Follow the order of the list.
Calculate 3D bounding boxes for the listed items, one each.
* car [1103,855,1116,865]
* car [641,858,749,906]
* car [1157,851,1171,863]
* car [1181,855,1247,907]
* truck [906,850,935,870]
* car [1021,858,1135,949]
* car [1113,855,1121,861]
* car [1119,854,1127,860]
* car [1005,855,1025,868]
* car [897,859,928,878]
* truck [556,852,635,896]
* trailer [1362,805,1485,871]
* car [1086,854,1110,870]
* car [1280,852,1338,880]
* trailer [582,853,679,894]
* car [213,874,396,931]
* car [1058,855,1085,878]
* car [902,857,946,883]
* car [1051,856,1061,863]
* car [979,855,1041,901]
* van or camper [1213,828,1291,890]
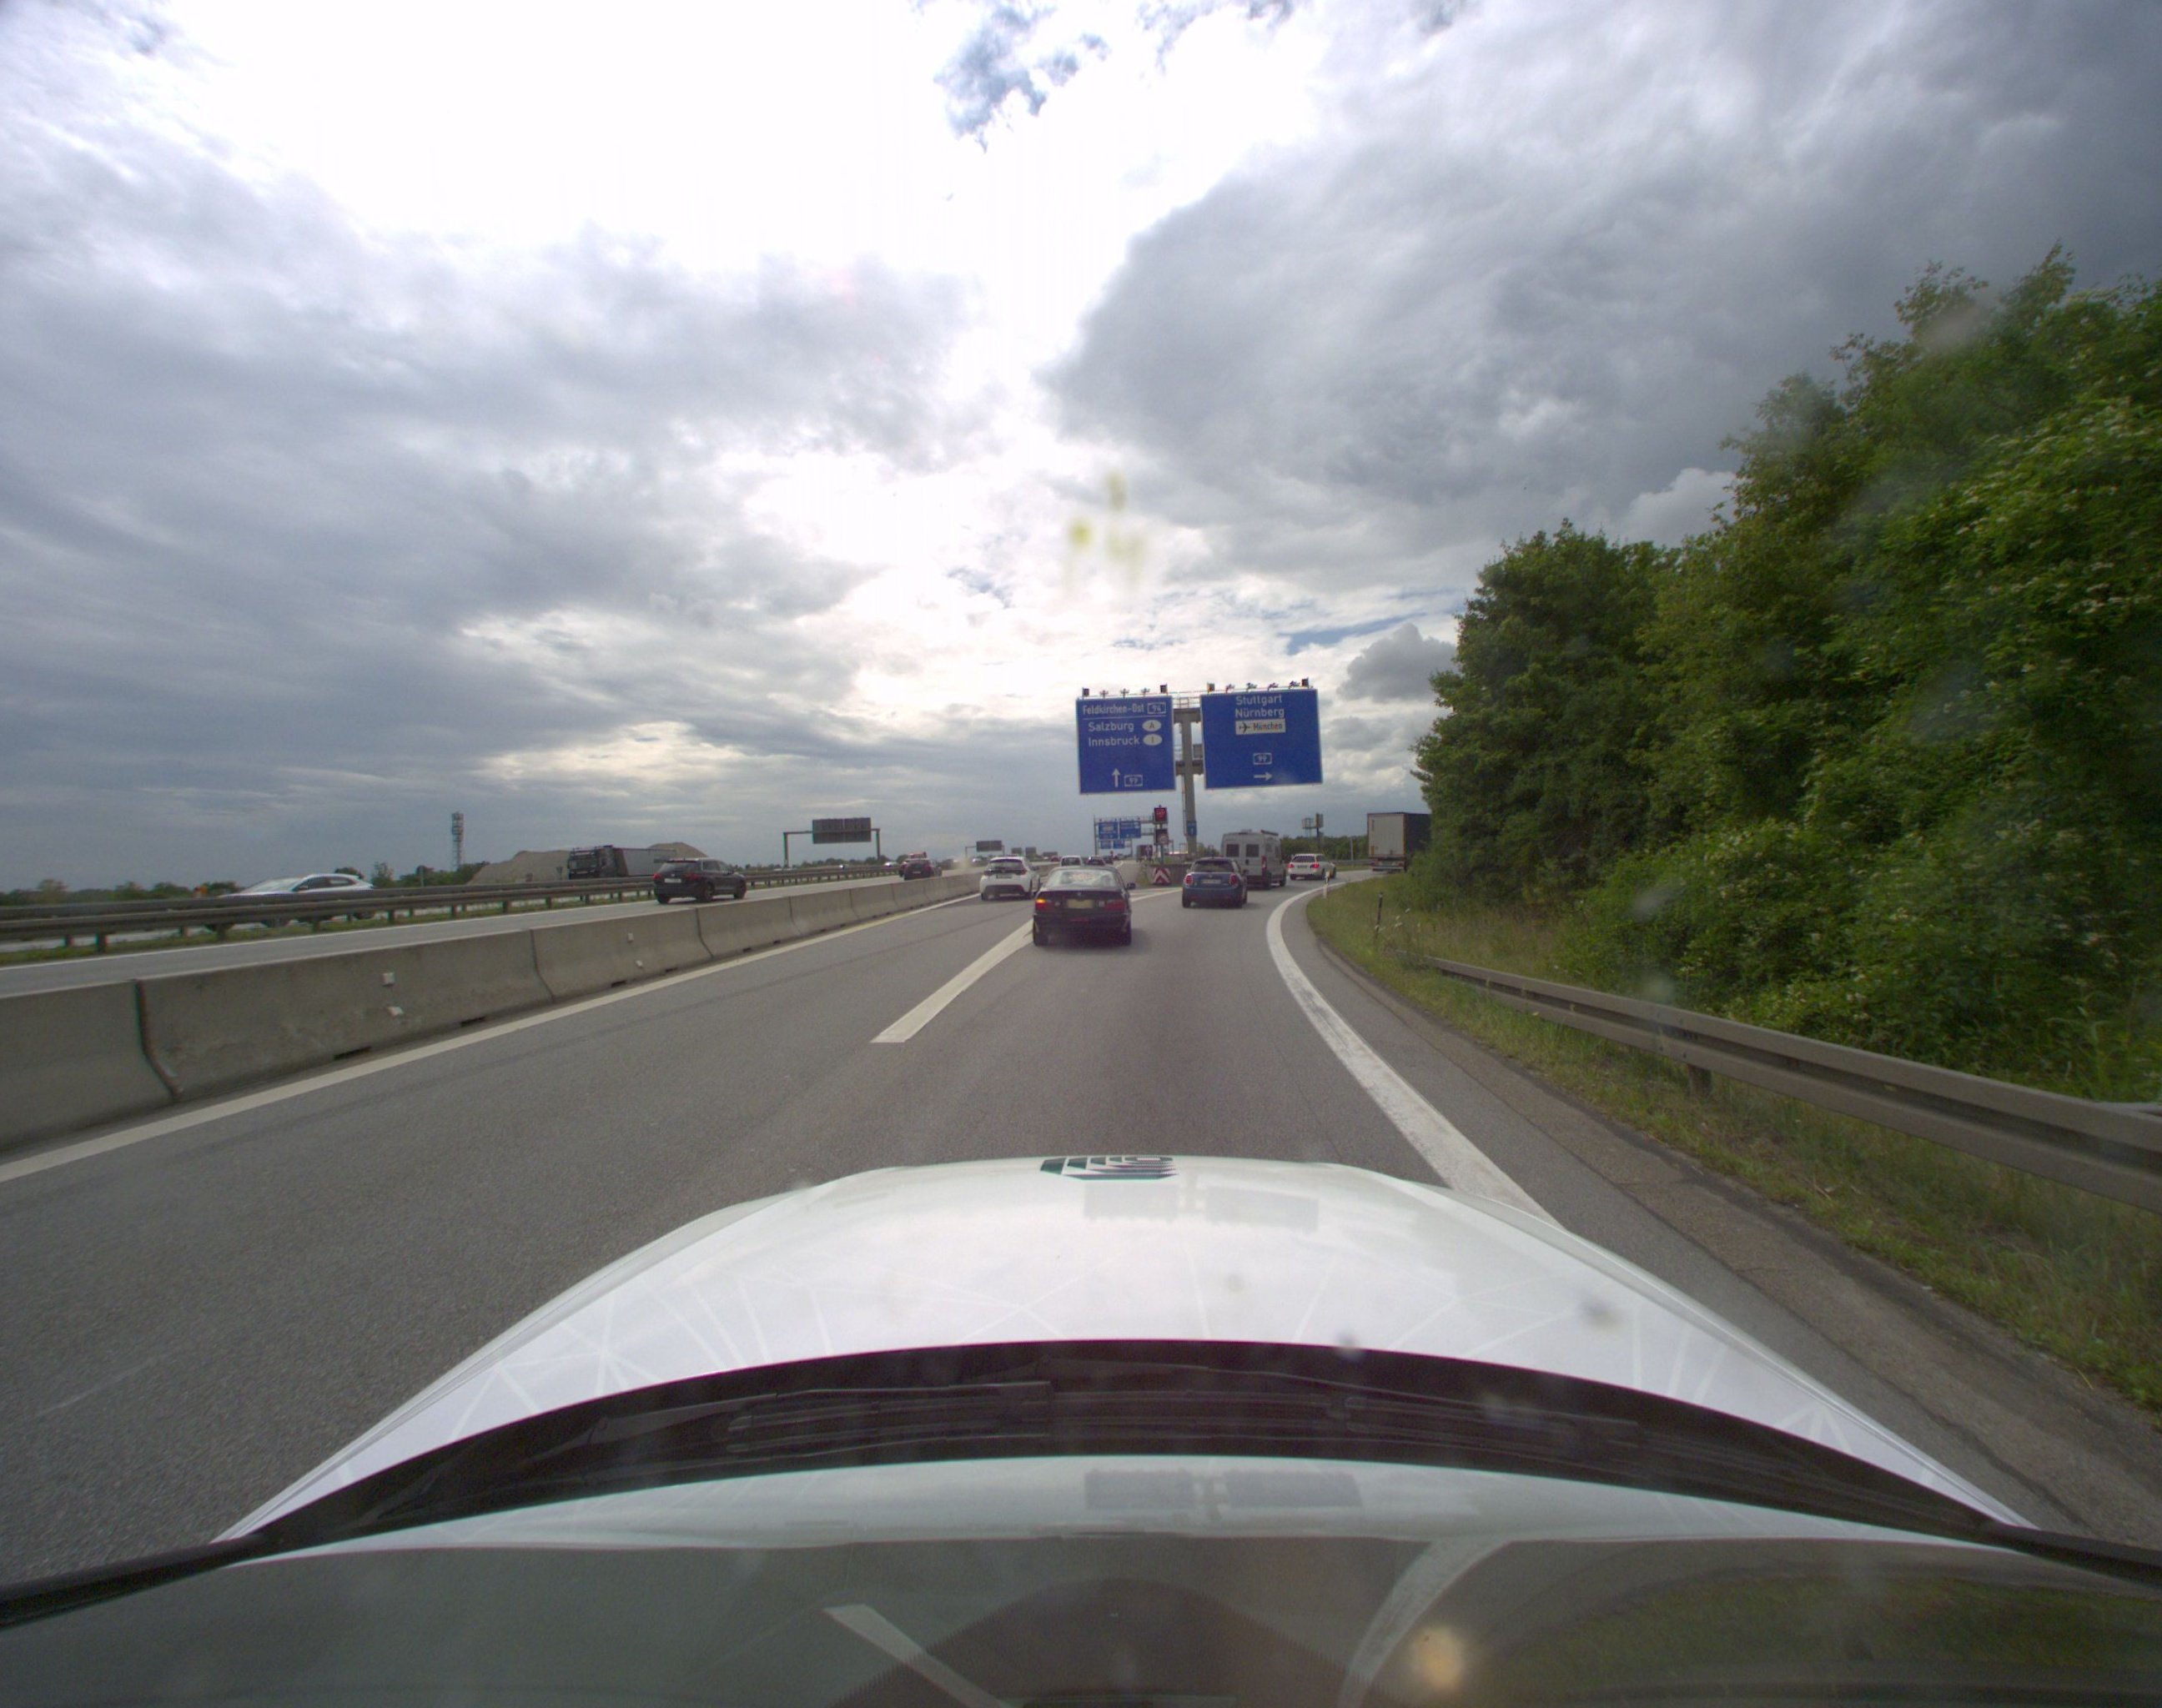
[{"bbox_3d":[4.234,0.850,121.369,1.858,1.424,4.003,-1,0,3],"label":"car"},{"bbox_3d":[-14.316,0.981,30.480,1.894,1.638,4.235,-1,0,2],"label":"car"},{"bbox_3d":[14.194,0.494,139.686,1.986,2.013,4.001,-1,0,1],"label":"car"},{"bbox_3d":[4.077,0.767,24.545,1.717,1.419,3.679,-1,0,13],"label":"car"},{"bbox_3d":[-20.948,0.762,106.547,2.268,2.370,6.202,-1,0,1],"label":"truck"},{"bbox_3d":[0.075,0.804,14.966,1.775,1.378,4.140,-1,0,3],"label":"car"},{"bbox_3d":[8.514,0.868,193.206,1.795,1.424,4.005,-1,0,4],"label":"car"},{"bbox_3d":[11.098,0.813,214.912,1.795,1.424,4.005,-1,0,4],"label":"car"},{"bbox_3d":[-8.443,0.945,104.338,1.985,1.683,4.869,-1,0,3],"label":"car"},{"bbox_3d":[-13.523,1.146,65.491,1.547,1.376,4.002,-1,0,2],"label":"car"},{"bbox_3d":[-39.260,1.564,66.078,3.141,3.330,5.618,-1,0,-2],"label":"truck"},{"bbox_3d":[24.576,-1.086,57.858,13.108,4.193,3.300,-1,0,-45],"label":"trailer"},{"bbox_3d":[1.746,0.762,80.228,1.983,1.468,4.007,-1,0,6],"label":"car"},{"bbox_3d":[13.233,0.661,47.042,2.185,1.501,4.816,-2,0,28],"label":"car"},{"bbox_3d":[-39.407,1.611,71.784,3.189,3.269,9.818,-1,0,-2],"label":"trailer"},{"bbox_3d":[-23.253,1.384,24.617,1.681,1.469,4.004,-1,0,0],"label":"car"},{"bbox_3d":[-0.596,0.837,54.877,1.578,1.484,3.538,-1,0,3],"label":"car"},{"bbox_3d":[-9.654,0.962,50.330,1.767,1.530,4.002,-2,0,2],"label":"car"},{"bbox_3d":[-6.167,1.371,204.079,1.984,1.468,4.005,-1,0,4],"label":"car"},{"bbox_3d":[-2.487,0.809,29.388,1.694,1.508,3.842,-1,0,2],"label":"car"},{"bbox_3d":[7.910,0.184,37.177,2.273,2.568,6.194,-2,0,23],"label":"van or camper"}]
